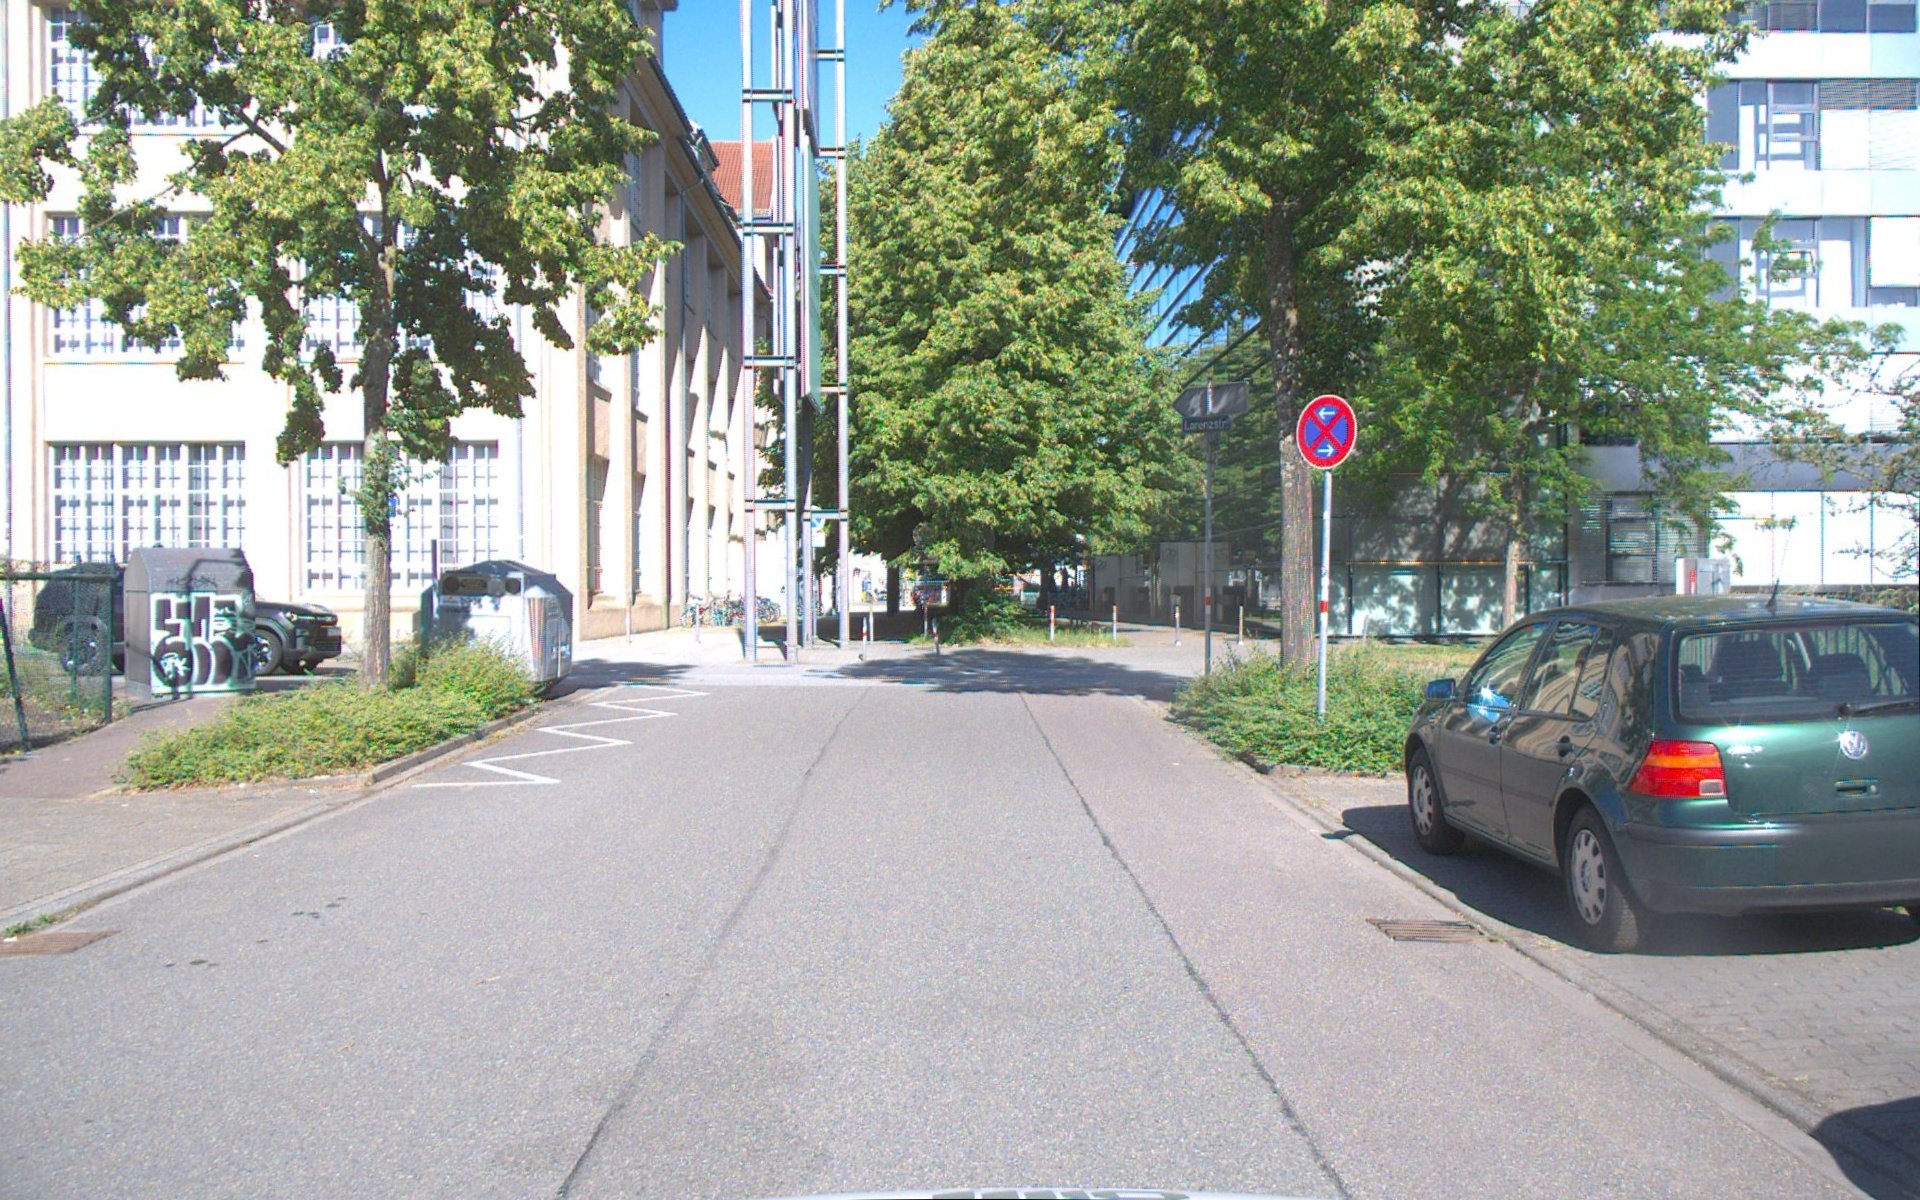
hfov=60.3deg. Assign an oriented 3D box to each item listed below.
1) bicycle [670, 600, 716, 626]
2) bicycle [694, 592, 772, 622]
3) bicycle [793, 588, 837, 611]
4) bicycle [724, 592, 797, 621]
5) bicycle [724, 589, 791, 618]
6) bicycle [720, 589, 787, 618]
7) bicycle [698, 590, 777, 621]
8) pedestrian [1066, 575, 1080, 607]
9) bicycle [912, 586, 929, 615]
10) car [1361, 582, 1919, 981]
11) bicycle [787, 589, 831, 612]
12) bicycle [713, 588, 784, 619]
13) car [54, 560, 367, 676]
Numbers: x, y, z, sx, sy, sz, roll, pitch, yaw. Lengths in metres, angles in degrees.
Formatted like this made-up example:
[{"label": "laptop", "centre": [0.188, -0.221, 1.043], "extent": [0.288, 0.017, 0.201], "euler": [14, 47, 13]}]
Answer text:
[{"label": "bicycle", "centre": [-9.046, 0.437, 56.194], "extent": [0.761, 0.806, 2.886], "euler": [0, 1, 7]}, {"label": "bicycle", "centre": [-8.323, 0.252, 60.637], "extent": [2.743, 1.081, 0.718], "euler": [0, 1, -1]}, {"label": "bicycle", "centre": [-6.962, -0.020, 79.415], "extent": [2.015, 1.085, 0.507], "euler": [0, 0, 1]}, {"label": "bicycle", "centre": [-7.670, 0.232, 63.585], "extent": [2.746, 1.081, 0.718], "euler": [0, 1, -6]}, {"label": "bicycle", "centre": [-8.331, 0.121, 68.124], "extent": [2.678, 1.171, 0.718], "euler": [0, 1, -6]}, {"label": "bicycle", "centre": [-8.403, 0.148, 67.333], "extent": [2.678, 1.171, 0.718], "euler": [0, 1, -6]}, {"label": "bicycle", "centre": [-7.933, 0.203, 59.051], "extent": [2.746, 1.081, 0.718], "euler": [0, 1, -6]}, {"label": "pedestrian", "centre": [5.671, -0.444, 83.117], "extent": [0.701, 1.577, 0.690], "euler": [0, 1, 5]}, {"label": "bicycle", "centre": [-1.754, 0.011, 73.146], "extent": [0.607, 1.218, 2.129], "euler": [0, 1, -6]}, {"label": "car", "centre": [3.475, 0.679, 8.462], "extent": [1.711, 1.446, 4.424], "euler": [-2, 0, 0]}, {"label": "bicycle", "centre": [-7.187, 0.008, 78.719], "extent": [2.015, 1.085, 0.507], "euler": [0, 0, 1]}, {"label": "bicycle", "centre": [-8.401, 0.135, 65.880], "extent": [2.746, 1.171, 0.718], "euler": [-1, 0, -6]}, {"label": "car", "centre": [-11.750, 0.276, 26.132], "extent": [4.005, 1.725, 2.000], "euler": [0, 0, 0]}]
